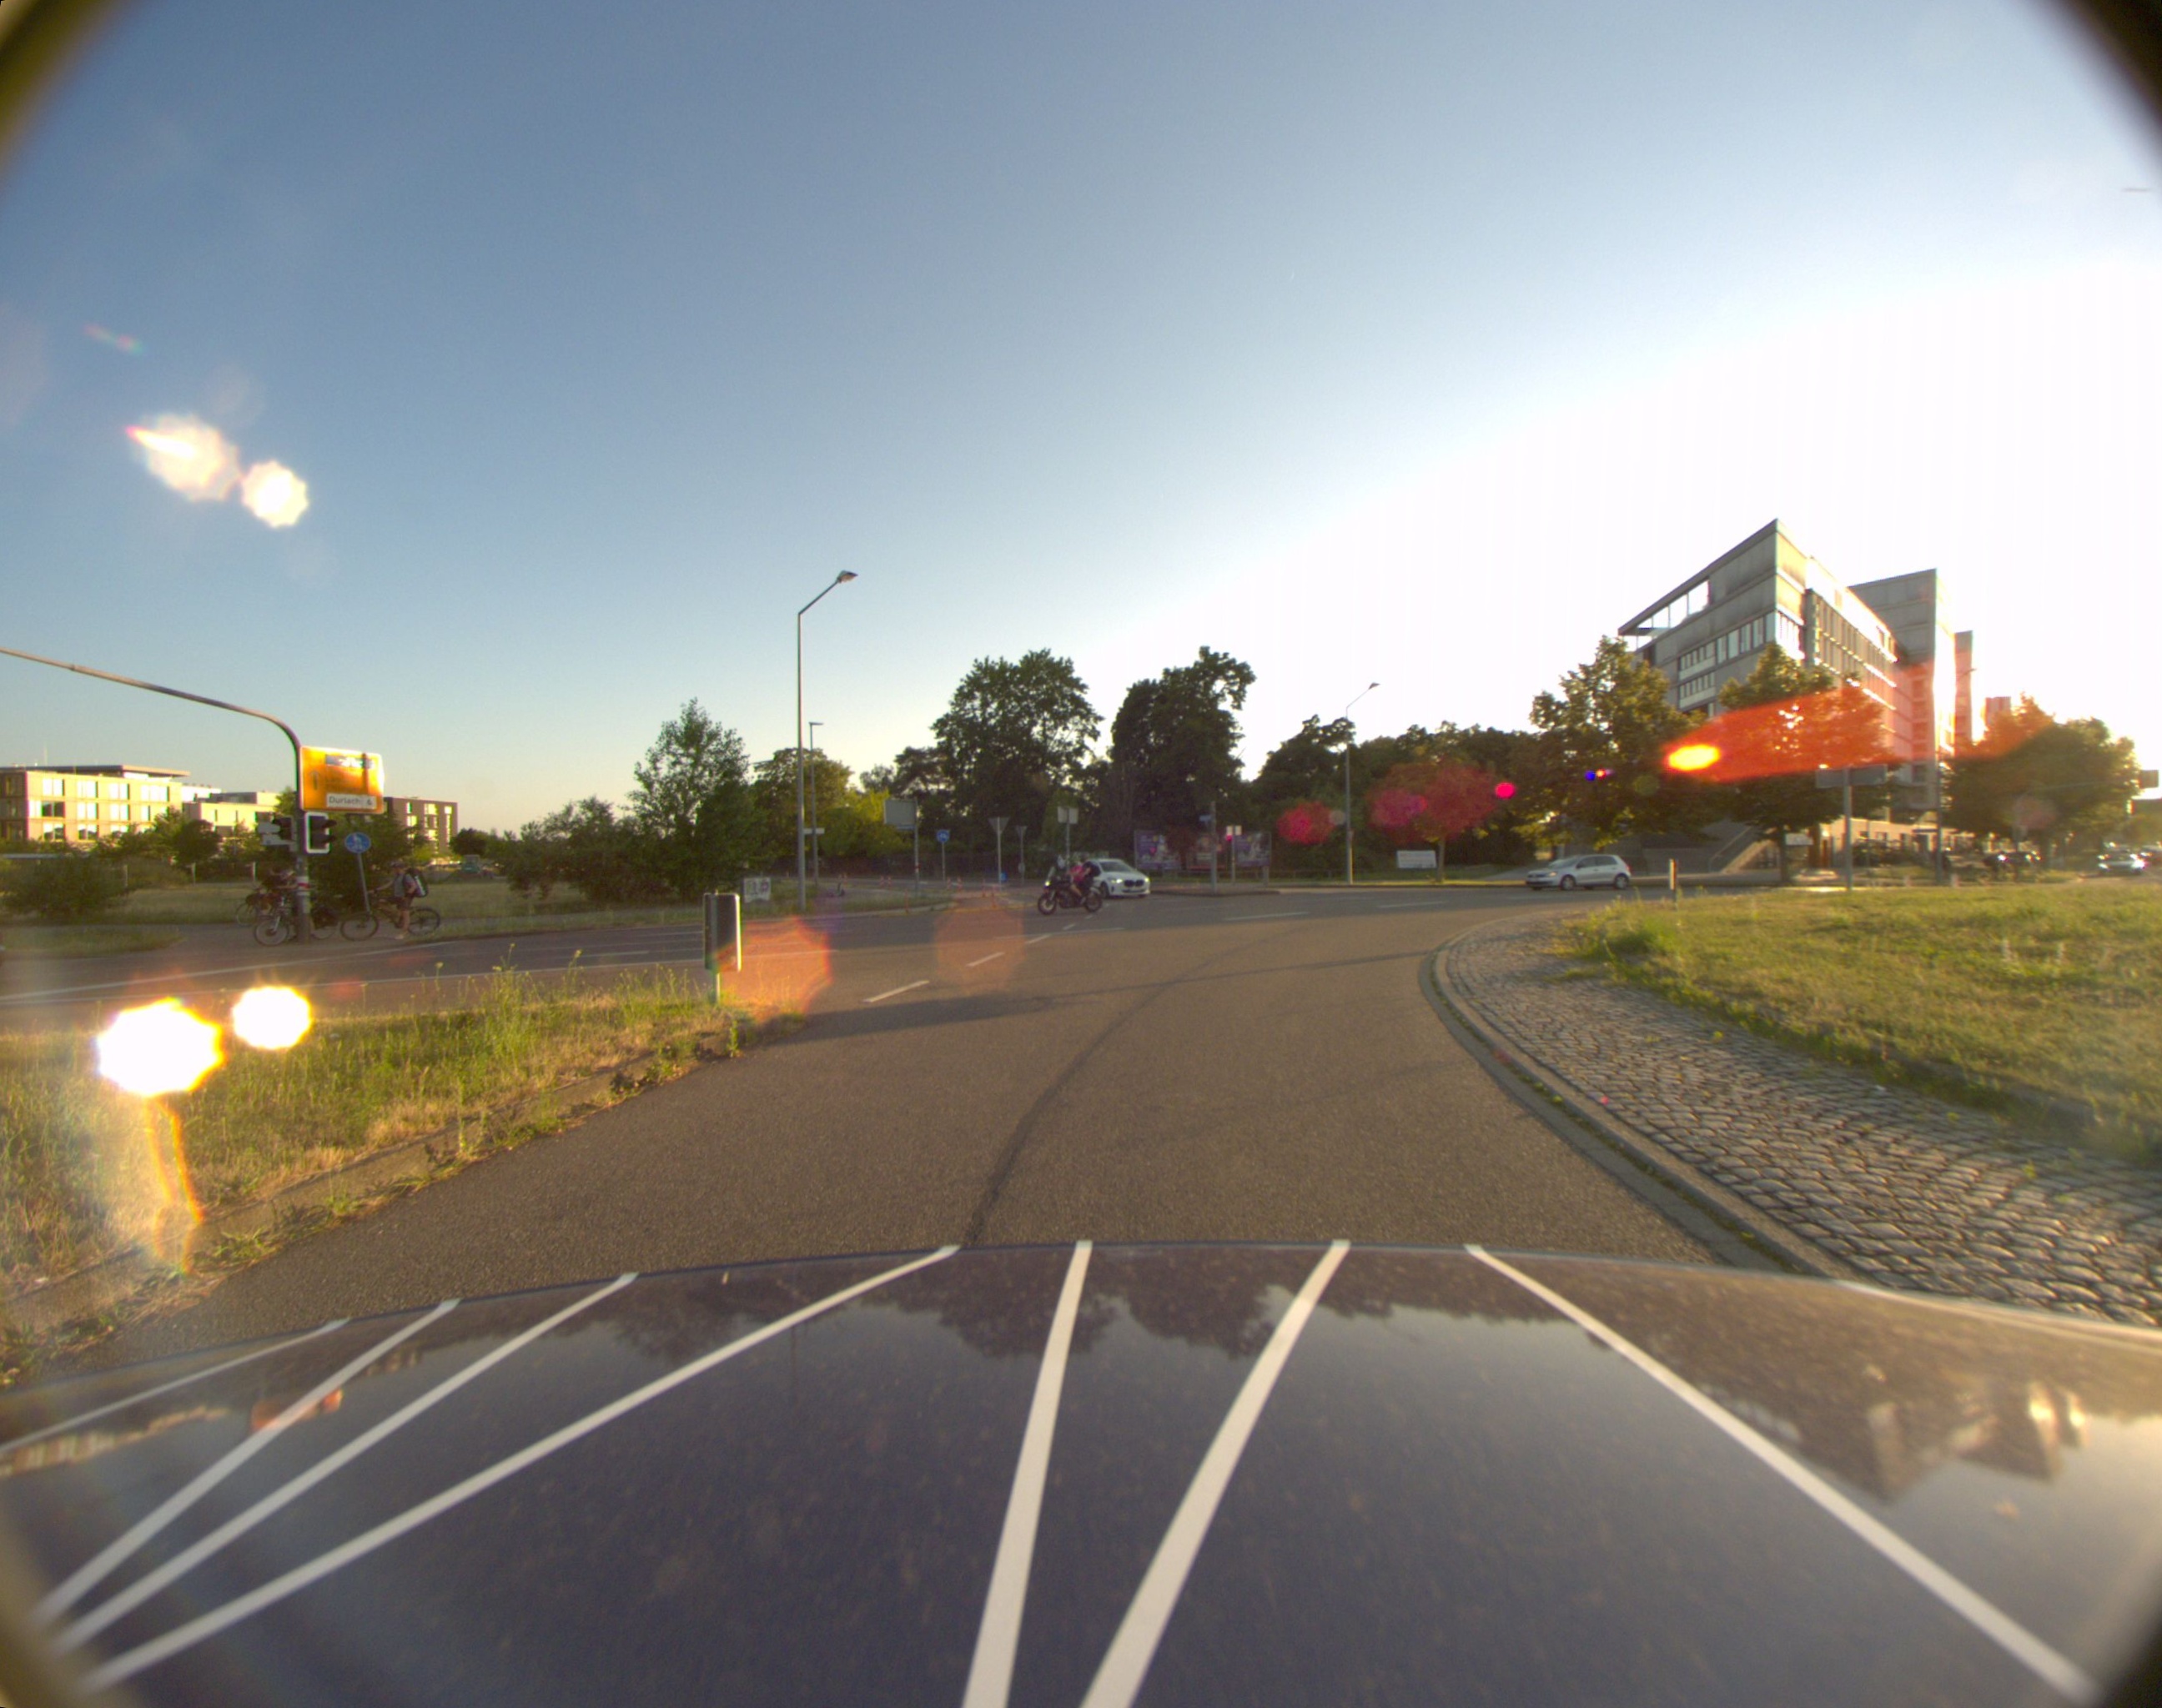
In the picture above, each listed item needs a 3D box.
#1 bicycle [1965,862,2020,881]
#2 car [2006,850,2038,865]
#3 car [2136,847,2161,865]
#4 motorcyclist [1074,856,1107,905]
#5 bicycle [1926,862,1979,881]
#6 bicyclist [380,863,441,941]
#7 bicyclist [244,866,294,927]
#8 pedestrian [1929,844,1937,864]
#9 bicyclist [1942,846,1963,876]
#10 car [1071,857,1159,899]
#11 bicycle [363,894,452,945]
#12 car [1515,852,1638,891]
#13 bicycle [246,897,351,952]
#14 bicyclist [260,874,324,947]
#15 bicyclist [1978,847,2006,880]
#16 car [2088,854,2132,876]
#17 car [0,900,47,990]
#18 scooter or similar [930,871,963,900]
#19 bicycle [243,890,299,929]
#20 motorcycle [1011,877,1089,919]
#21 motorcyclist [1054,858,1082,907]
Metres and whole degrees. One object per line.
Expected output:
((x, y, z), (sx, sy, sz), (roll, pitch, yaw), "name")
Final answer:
((49.551, 0.931, 41.334), (0.438, 1.016, 1.859), (-1, 0, -29), "bicycle")
((89.912, 0.314, 72.613), (4.008, 1.455, 1.798), (0, 0, -37), "car")
((101.474, 0.171, 71.885), (4.007, 1.612, 1.773), (-1, 0, -34), "car")
((0.278, 0.765, 22.382), (0.715, 1.408, 0.687), (-1, 1, -22), "motorcyclist")
((47.190, 0.956, 41.167), (1.858, 1.016, 0.308), (-1, 0, 44), "bicycle")
((-17.027, 1.203, 19.306), (0.641, 1.887, 0.910), (-1, 2, 1), "bicyclist")
((-23.682, 1.232, 22.166), (0.843, 1.733, 0.537), (-1, 0, 3), "bicyclist")
((86.246, 0.039, 76.907), (0.528, 2.002, 0.537), (-1, 0, -37), "pedestrian")
((47.326, 0.369, 41.258), (0.682, 1.638, 0.685), (0, 0, 44), "bicyclist")
((1.302, 0.926, 30.956), (1.893, 1.549, 4.087), (-1, 0, -25), "car")
((-17.143, 1.634, 19.395), (0.456, 1.079, 1.928), (-1, 2, 2), "bicycle")
((20.625, 0.698, 31.694), (4.051, 1.472, 1.891), (-1, 0, -8), "car")
((-19.043, 1.686, 18.551), (0.456, 1.079, 1.928), (-1, 3, 2), "bicycle")
((-19.105, 1.361, 18.421), (0.641, 1.693, 0.770), (-1, 3, 1), "bicyclist")
((49.269, 0.497, 41.093), (0.805, 1.745, 0.847), (-1, 0, -30), "bicyclist")
((73.121, 0.764, 54.014), (4.007, 1.455, 1.798), (-1, 0, -37), "car")
((-19.419, 1.483, 11.486), (4.449, 1.414, 1.802), (0, 0, -10), "car")
((-5.579, 1.283, 31.610), (0.441, 1.156, 1.386), (0, 0, 39), "scooter or similar")
((-23.628, 1.616, 22.160), (1.371, 1.082, 0.280), (-1, 0, 4), "bicycle")
((-0.887, 1.247, 21.762), (2.162, 1.094, 0.557), (-1, 1, -23), "motorcycle")
((-0.386, 0.811, 22.011), (0.595, 1.400, 0.635), (-1, 1, -22), "motorcyclist")
